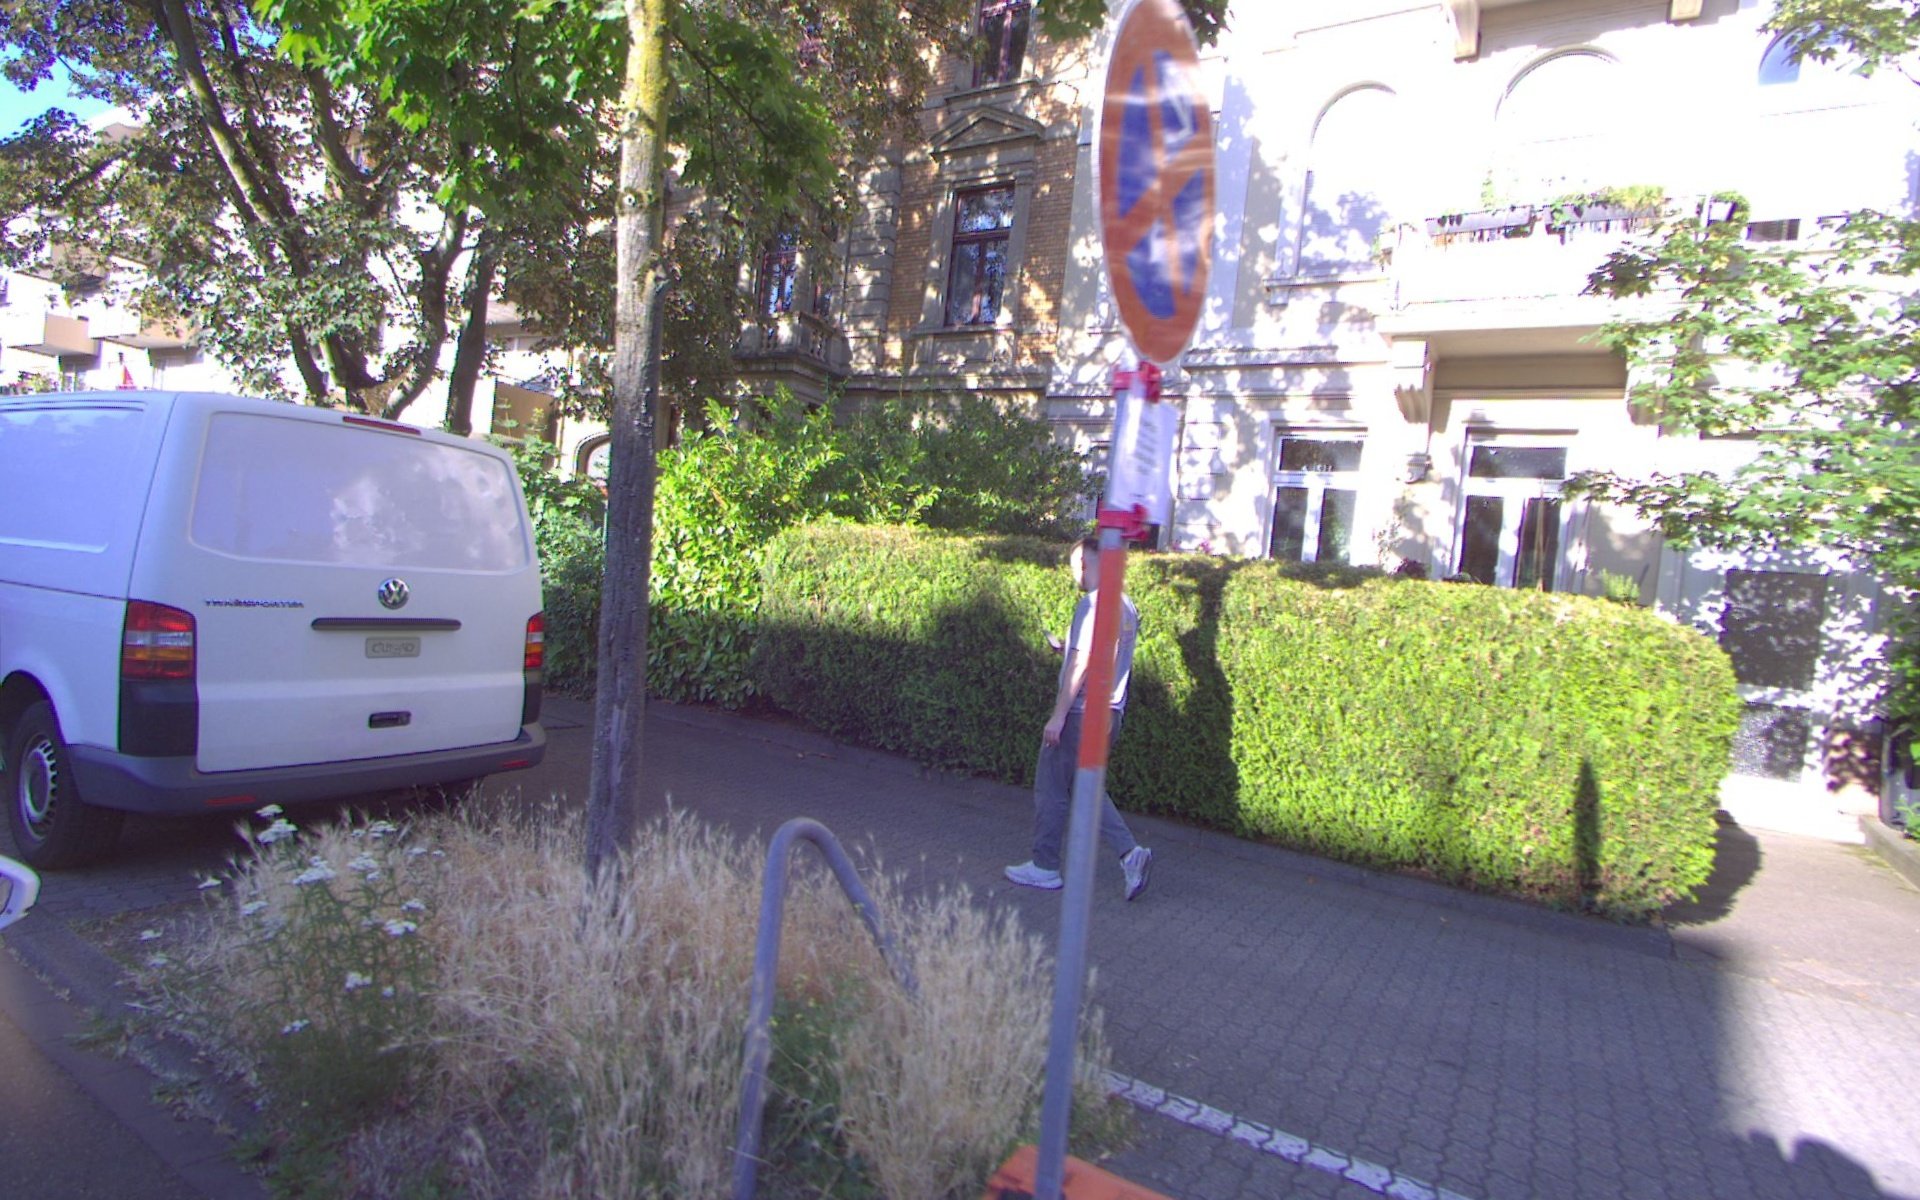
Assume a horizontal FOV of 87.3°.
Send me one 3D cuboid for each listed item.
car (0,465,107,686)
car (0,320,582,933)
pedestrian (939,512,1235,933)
[{"bbox_3d":[-8.992,-0.382,8.204,4.239,1.625,1.856,6,3,31],"label":"car"},{"bbox_3d":[-4.456,-0.060,5.449,4.562,2.129,1.905,6,0,30],"label":"car"},{"bbox_3d":[0.648,0.543,5.027,1.070,1.796,0.822,7,1,28],"label":"pedestrian"}]
